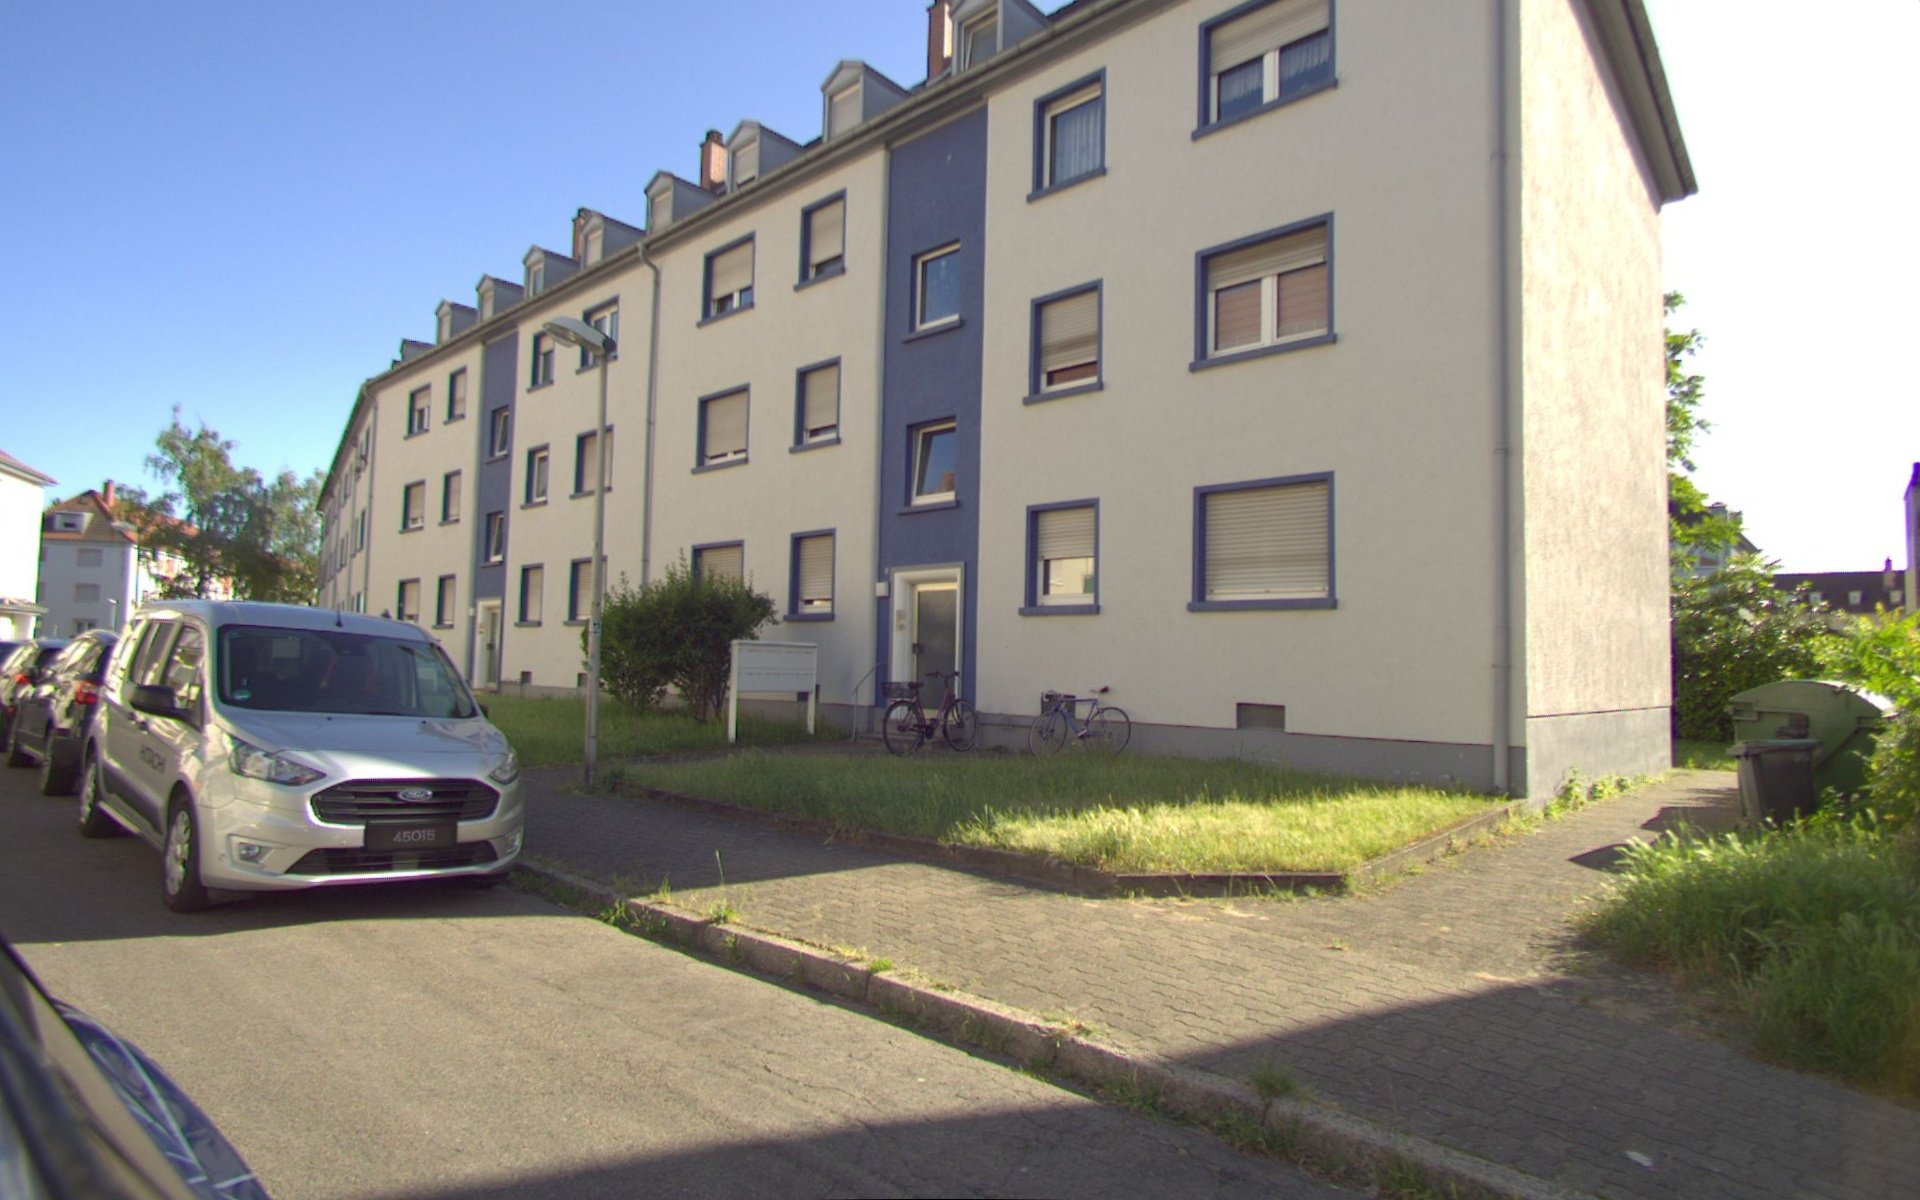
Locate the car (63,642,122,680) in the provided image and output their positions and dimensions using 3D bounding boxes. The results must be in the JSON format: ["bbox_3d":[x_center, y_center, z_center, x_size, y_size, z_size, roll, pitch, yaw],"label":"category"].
[{"bbox_3d":[-41.356,2.939,48.330,1.616,1.653,3.657,7,-7,-35],"label":"car"}]

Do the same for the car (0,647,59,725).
[{"bbox_3d":[-20.274,1.692,20.950,4.396,1.470,1.879,-2,-8,43],"label":"car"}]

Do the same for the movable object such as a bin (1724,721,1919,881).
[{"bbox_3d":[6.569,1.462,7.637,1.203,1.007,1.117,-1,-5,41],"label":"movable object such as a bin"}]

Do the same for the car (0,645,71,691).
[{"bbox_3d":[-34.892,2.565,38.076,1.616,1.559,3.657,7,-7,-35],"label":"car"}]

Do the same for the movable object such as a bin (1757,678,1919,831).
[{"bbox_3d":[9.489,1.606,10.828,1.436,1.457,1.117,-1,-5,42],"label":"movable object such as a bin"}]

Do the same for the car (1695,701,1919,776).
[{"bbox_3d":[18.072,2.885,21.372,3.998,1.321,1.467,-2,-7,41],"label":"car"}]

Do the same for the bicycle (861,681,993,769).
[{"bbox_3d":[-0.405,1.638,13.577,0.500,0.969,2.046,-2,-2,41],"label":"bicycle"}]

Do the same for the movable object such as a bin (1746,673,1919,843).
[{"bbox_3d":[8.602,1.488,9.849,1.436,1.468,1.117,-1,-5,42],"label":"movable object such as a bin"}]

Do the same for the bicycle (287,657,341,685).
[{"bbox_3d":[-24.489,2.683,38.359,1.707,0.997,0.463,0,-2,-35],"label":"bicycle"}]

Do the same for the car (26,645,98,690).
[{"bbox_3d":[-37.808,2.866,42.672,1.615,1.715,3.657,7,-7,-34],"label":"car"}]

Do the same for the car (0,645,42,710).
[{"bbox_3d":[-24.778,1.909,25.855,1.721,1.528,3.986,9,-8,-43],"label":"car"}]

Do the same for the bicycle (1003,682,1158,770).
[{"bbox_3d":[1.507,1.588,13.017,2.074,0.969,0.493,-2,-2,42],"label":"bicycle"}]

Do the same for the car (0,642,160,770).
[{"bbox_3d":[-12.527,1.411,13.924,3.701,1.530,1.626,-2,-9,42],"label":"car"}]

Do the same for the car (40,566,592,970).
[{"bbox_3d":[-4.680,0.923,6.976,4.947,1.844,1.781,-2,-8,42],"label":"car"}]

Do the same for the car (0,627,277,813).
[{"bbox_3d":[-8.982,1.195,10.762,4.162,1.603,1.656,-2,-9,41],"label":"car"}]

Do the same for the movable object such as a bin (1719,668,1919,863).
[{"bbox_3d":[7.326,1.336,8.495,1.436,1.444,1.117,-1,-5,42],"label":"movable object such as a bin"}]

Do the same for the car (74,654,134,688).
[{"bbox_3d":[-43.914,3.627,51.991,1.615,1.587,3.658,7,-7,-31],"label":"car"}]

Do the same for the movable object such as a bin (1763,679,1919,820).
[{"bbox_3d":[10.245,1.689,11.709,1.436,1.457,1.117,-1,-5,42],"label":"movable object such as a bin"}]

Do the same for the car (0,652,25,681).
[{"bbox_3d":[-49.438,3.366,51.402,1.728,1.440,4.480,5,-6,-28],"label":"car"}]
